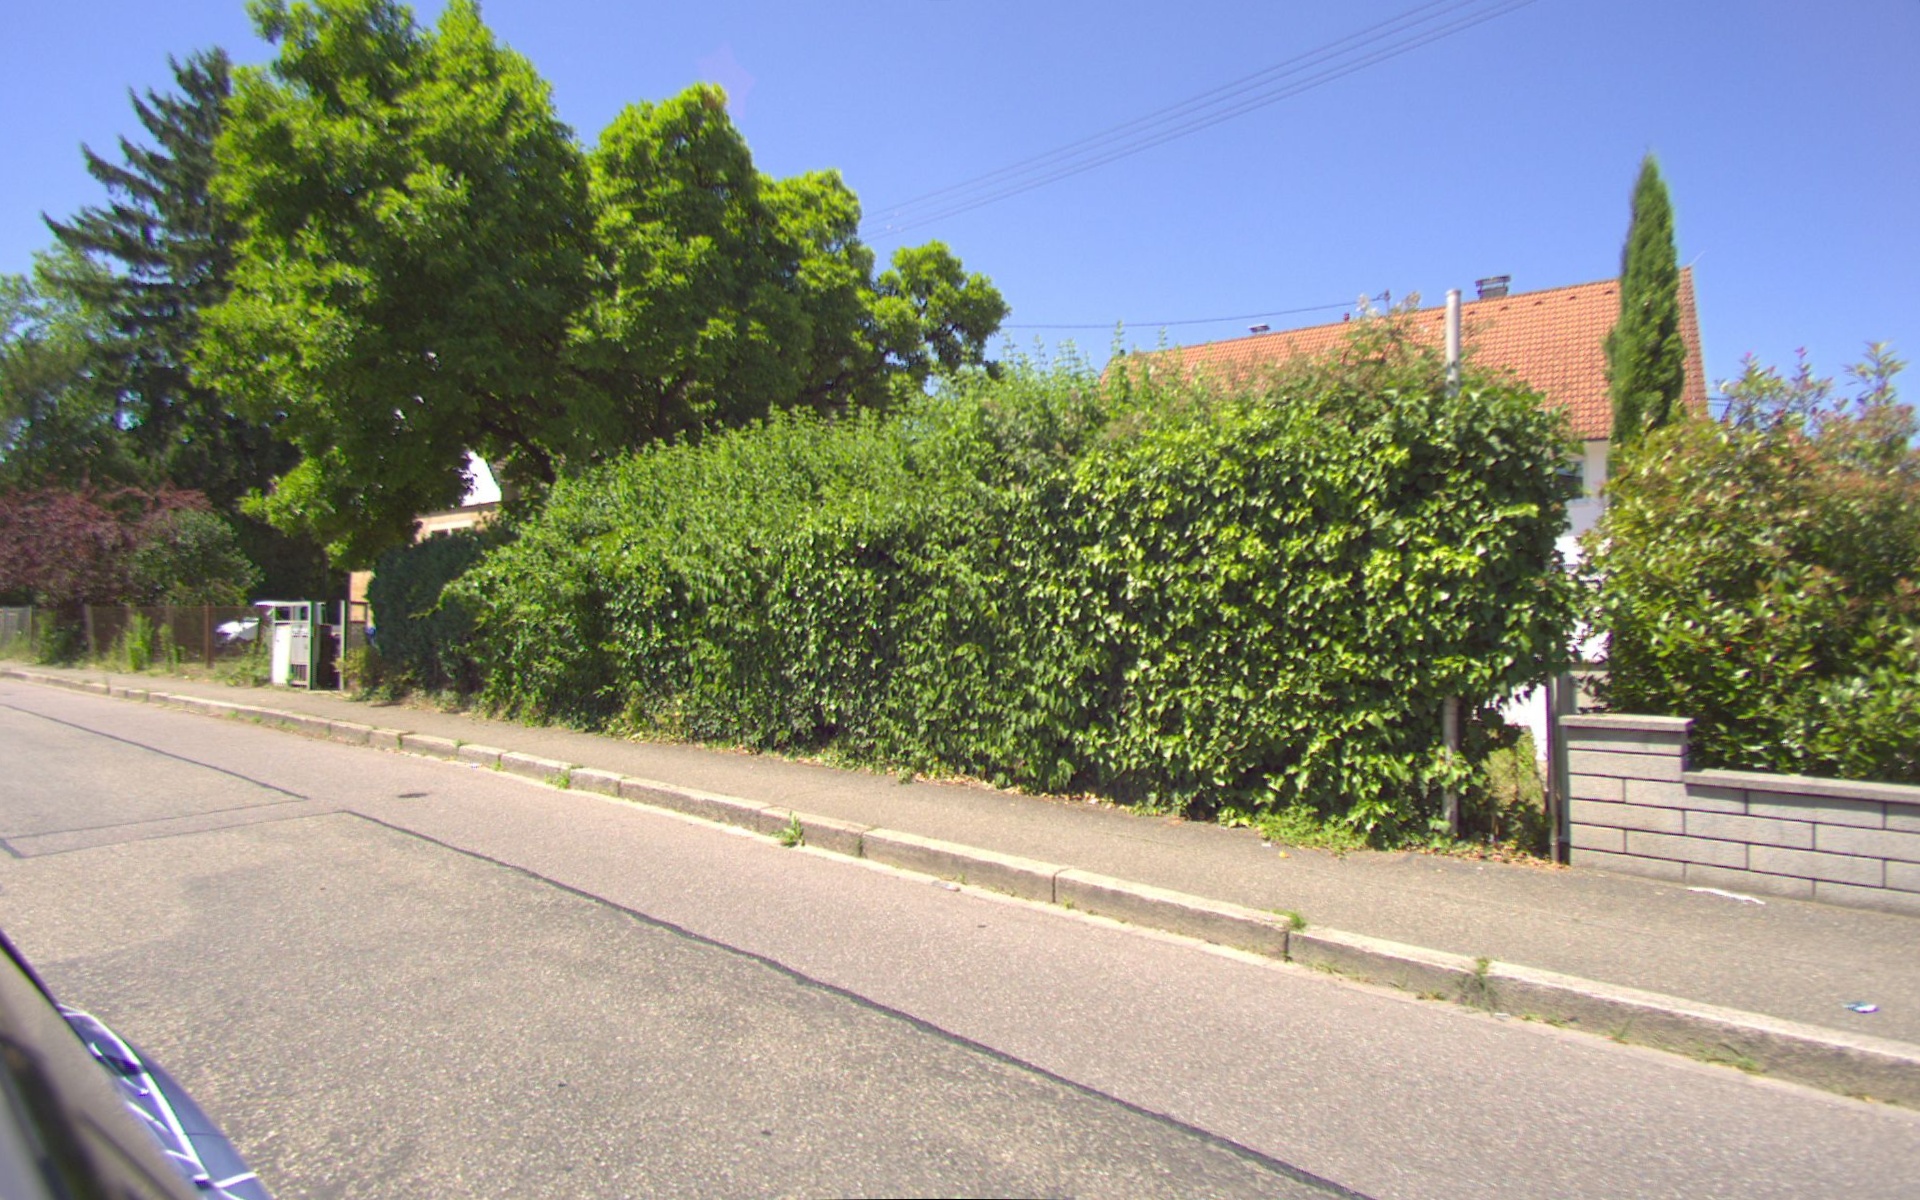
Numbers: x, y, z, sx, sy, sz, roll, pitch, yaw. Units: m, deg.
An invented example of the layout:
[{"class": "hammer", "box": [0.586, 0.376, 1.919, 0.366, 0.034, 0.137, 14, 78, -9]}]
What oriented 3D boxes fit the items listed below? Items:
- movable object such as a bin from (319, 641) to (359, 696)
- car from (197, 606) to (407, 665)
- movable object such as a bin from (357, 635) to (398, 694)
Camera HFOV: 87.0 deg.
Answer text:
[{"class": "movable object such as a bin", "box": [-10.792, 1.177, 17.592, 0.458, 0.916, 0.463, -1, -1, 37]}, {"class": "car", "box": [-26.164, 1.495, 40.590, 2.394, 2.188, 6.610, -1, -4, 31]}, {"class": "movable object such as a bin", "box": [-10.306, 1.125, 17.904, 0.505, 1.017, 0.463, -1, -1, 37]}]
